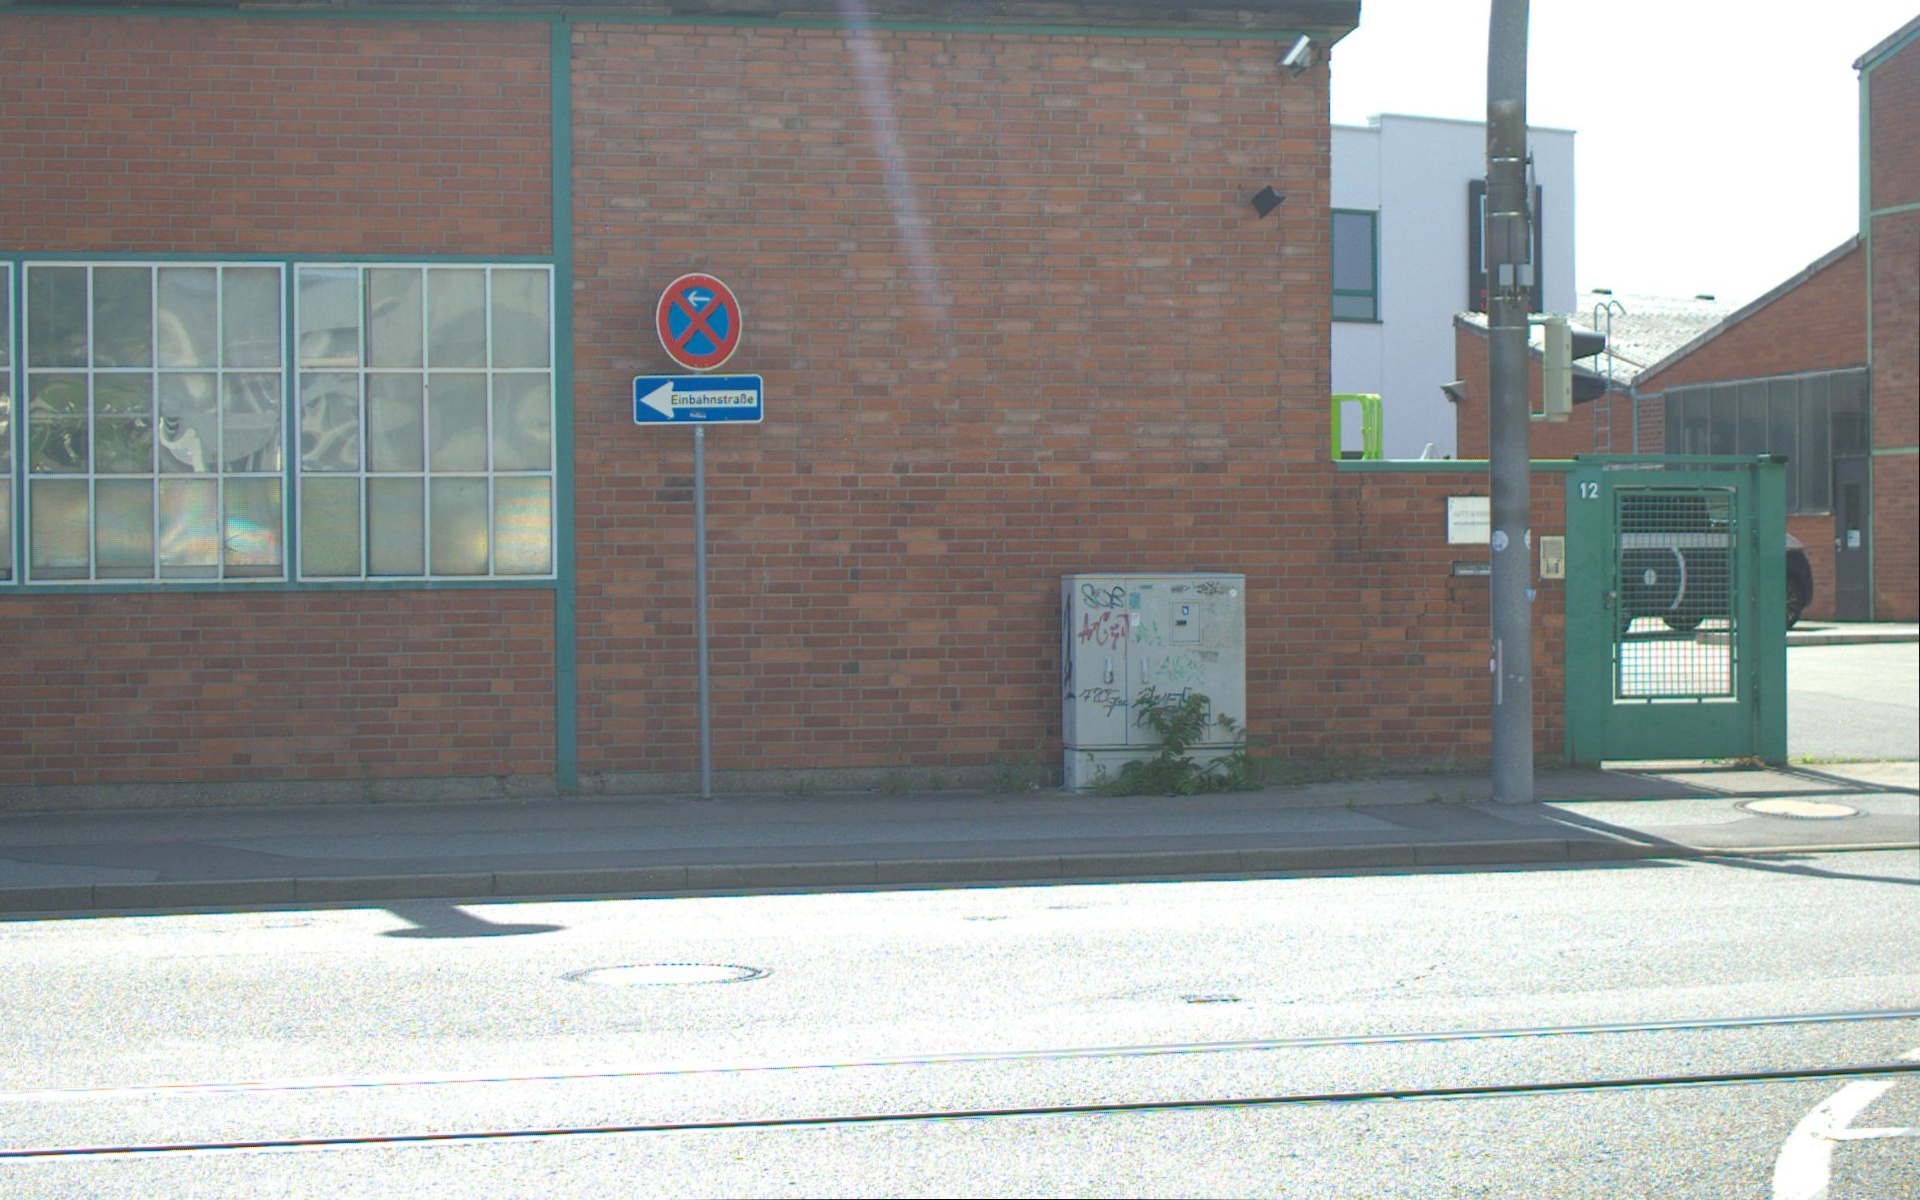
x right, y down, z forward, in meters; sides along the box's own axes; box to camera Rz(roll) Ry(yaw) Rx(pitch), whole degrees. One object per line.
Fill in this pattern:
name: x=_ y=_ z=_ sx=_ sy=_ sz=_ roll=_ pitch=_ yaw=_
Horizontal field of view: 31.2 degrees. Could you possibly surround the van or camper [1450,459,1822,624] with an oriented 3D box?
van or camper: x=8.456 y=-0.700 z=42.874 sx=4.407 sy=1.894 sz=2.000 roll=1 pitch=0 yaw=-35
